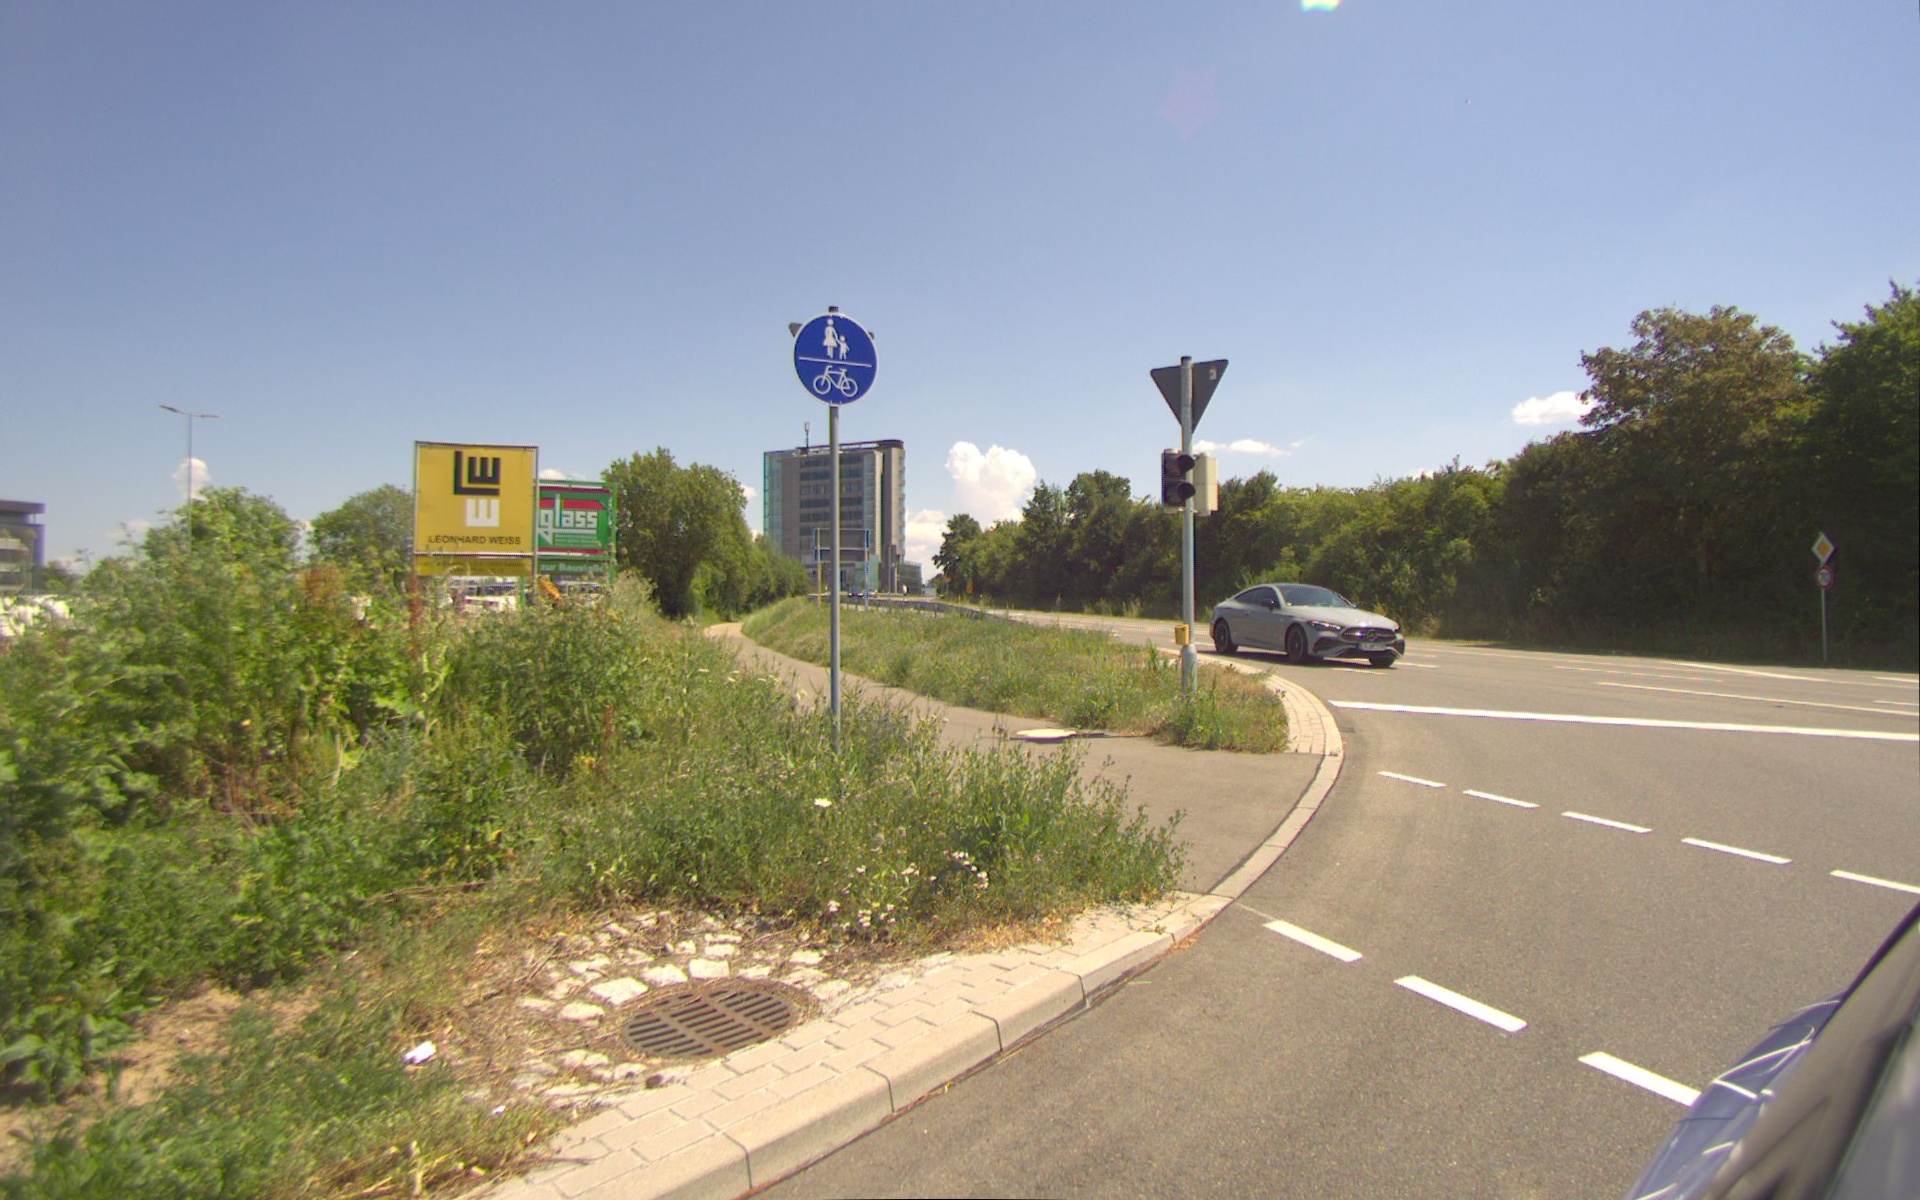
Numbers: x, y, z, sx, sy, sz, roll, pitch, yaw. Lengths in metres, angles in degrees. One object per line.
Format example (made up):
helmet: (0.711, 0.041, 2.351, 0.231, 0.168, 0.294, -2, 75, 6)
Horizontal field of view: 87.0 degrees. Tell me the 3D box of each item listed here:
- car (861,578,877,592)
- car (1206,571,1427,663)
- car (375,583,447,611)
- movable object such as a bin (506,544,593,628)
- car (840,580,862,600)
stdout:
car: (-13.759, -2.241, 153.511, 1.962, 2.038, 4.001, 2, 2, 0)
car: (6.467, 0.253, 18.994, 1.883, 1.460, 4.490, 2, 0, -10)
car: (-34.943, -0.213, 64.547, 1.969, 1.660, 3.988, 2, 2, 11)
movable object such as a bin: (-21.956, -0.837, 54.621, 2.925, 4.094, 8.123, 1, 2, -12)
car: (-11.639, -1.095, 107.926, 1.958, 2.038, 4.009, 1, 2, -12)
